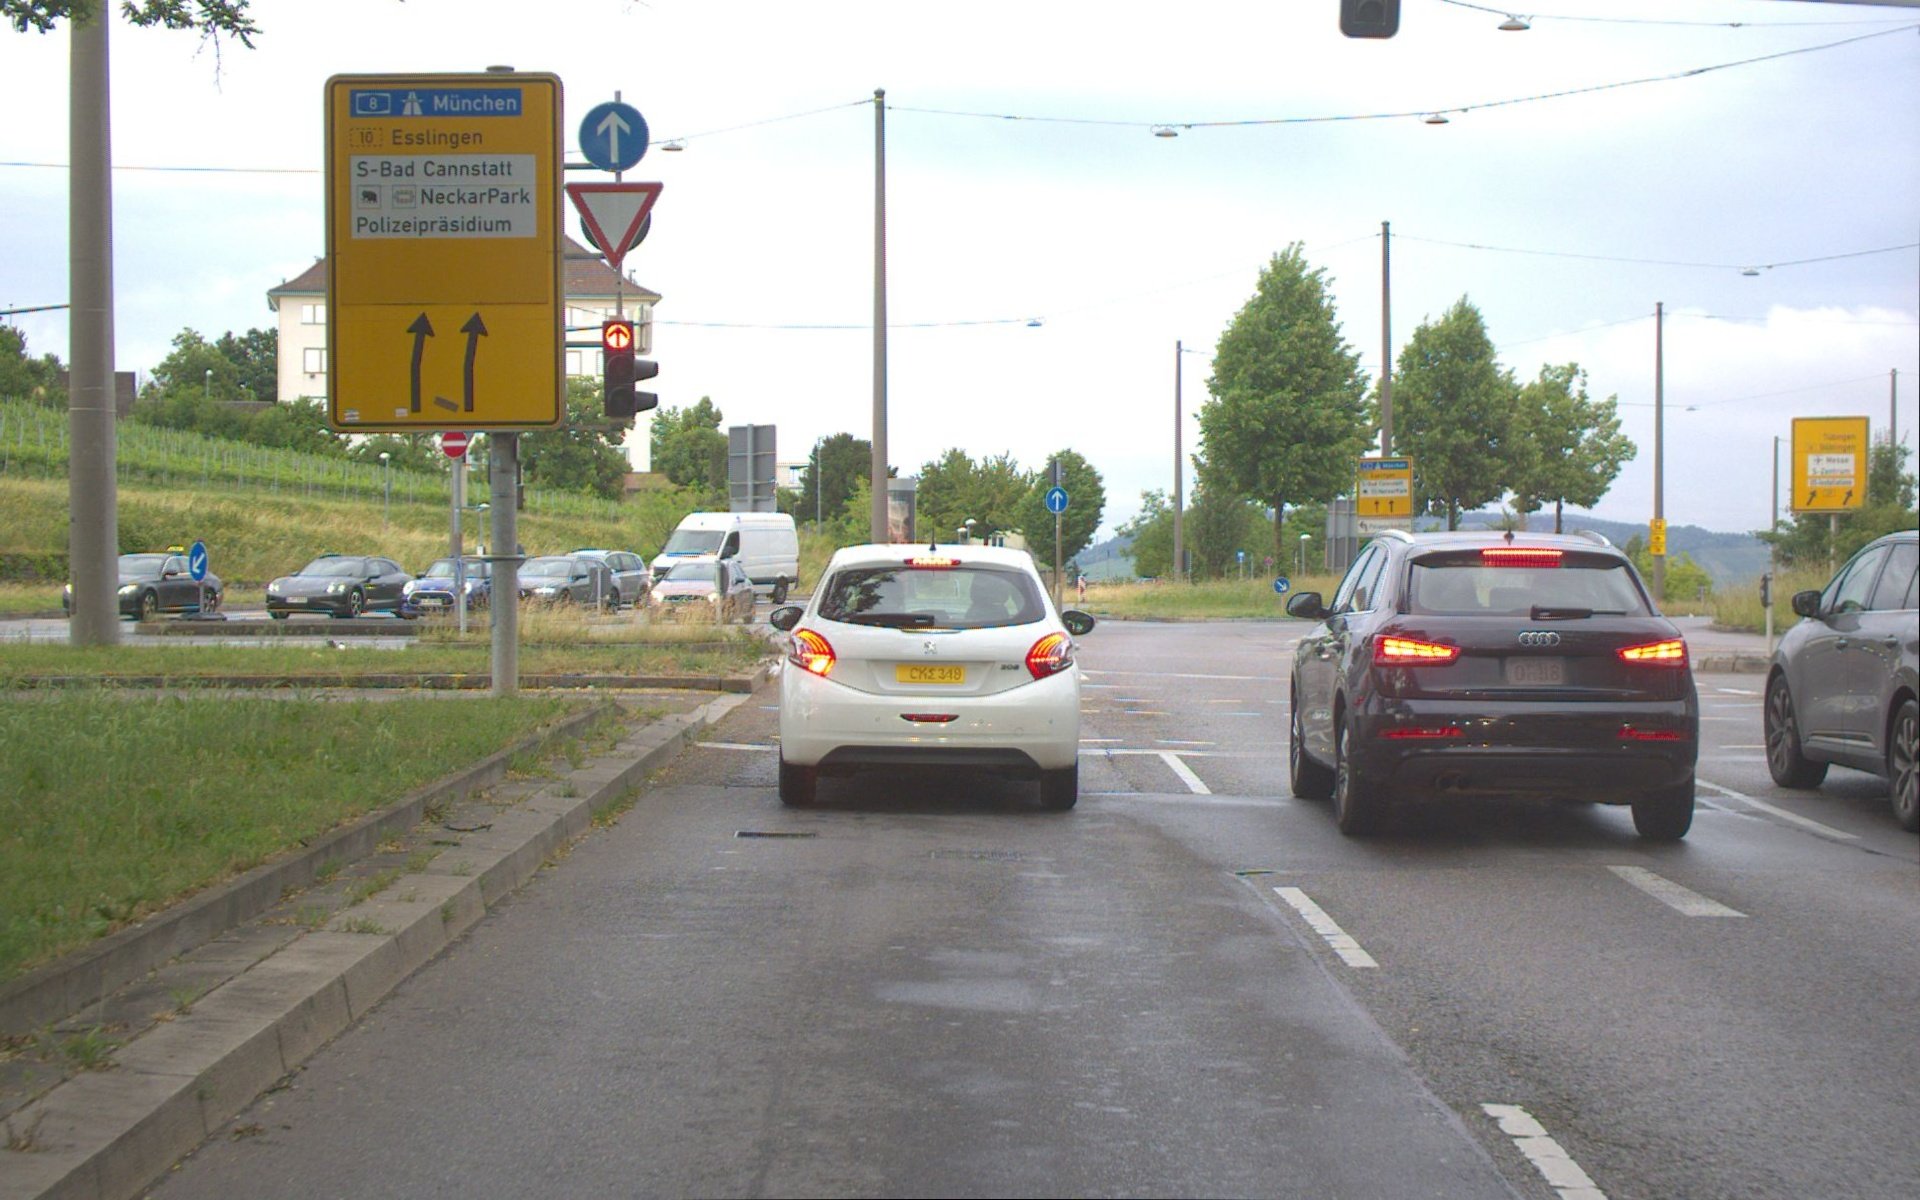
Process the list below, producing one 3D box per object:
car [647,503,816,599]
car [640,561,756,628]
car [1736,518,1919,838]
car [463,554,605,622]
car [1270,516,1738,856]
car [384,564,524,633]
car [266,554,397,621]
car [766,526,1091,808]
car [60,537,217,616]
[{"bbox_3d":[-6.480,-1.360,98.457,1.996,2.550,6.161,2,0,25],"label":"car"},{"bbox_3d":[-5.710,-0.117,75.441,1.776,1.420,4.373,0,0,6],"label":"car"},{"bbox_3d":[5.974,0.384,19.884,1.865,1.668,4.566,1,1,0],"label":"car"},{"bbox_3d":[-9.924,-0.271,80.542,1.902,1.484,4.890,2,0,10],"label":"car"},{"bbox_3d":[2.844,0.407,18.853,1.884,1.590,4.113,2,0,0],"label":"car"},{"bbox_3d":[-10.945,-0.008,74.659,1.787,1.391,3.880,2,0,11],"label":"car"},{"bbox_3d":[-13.995,-0.261,76.742,1.787,1.391,3.881,2,0,6],"label":"car"},{"bbox_3d":[-0.165,0.349,20.485,1.718,1.484,4.000,1,0,0],"label":"car"},{"bbox_3d":[-17.920,-0.504,75.178,1.830,1.618,4.565,2,0,7],"label":"car"}]
